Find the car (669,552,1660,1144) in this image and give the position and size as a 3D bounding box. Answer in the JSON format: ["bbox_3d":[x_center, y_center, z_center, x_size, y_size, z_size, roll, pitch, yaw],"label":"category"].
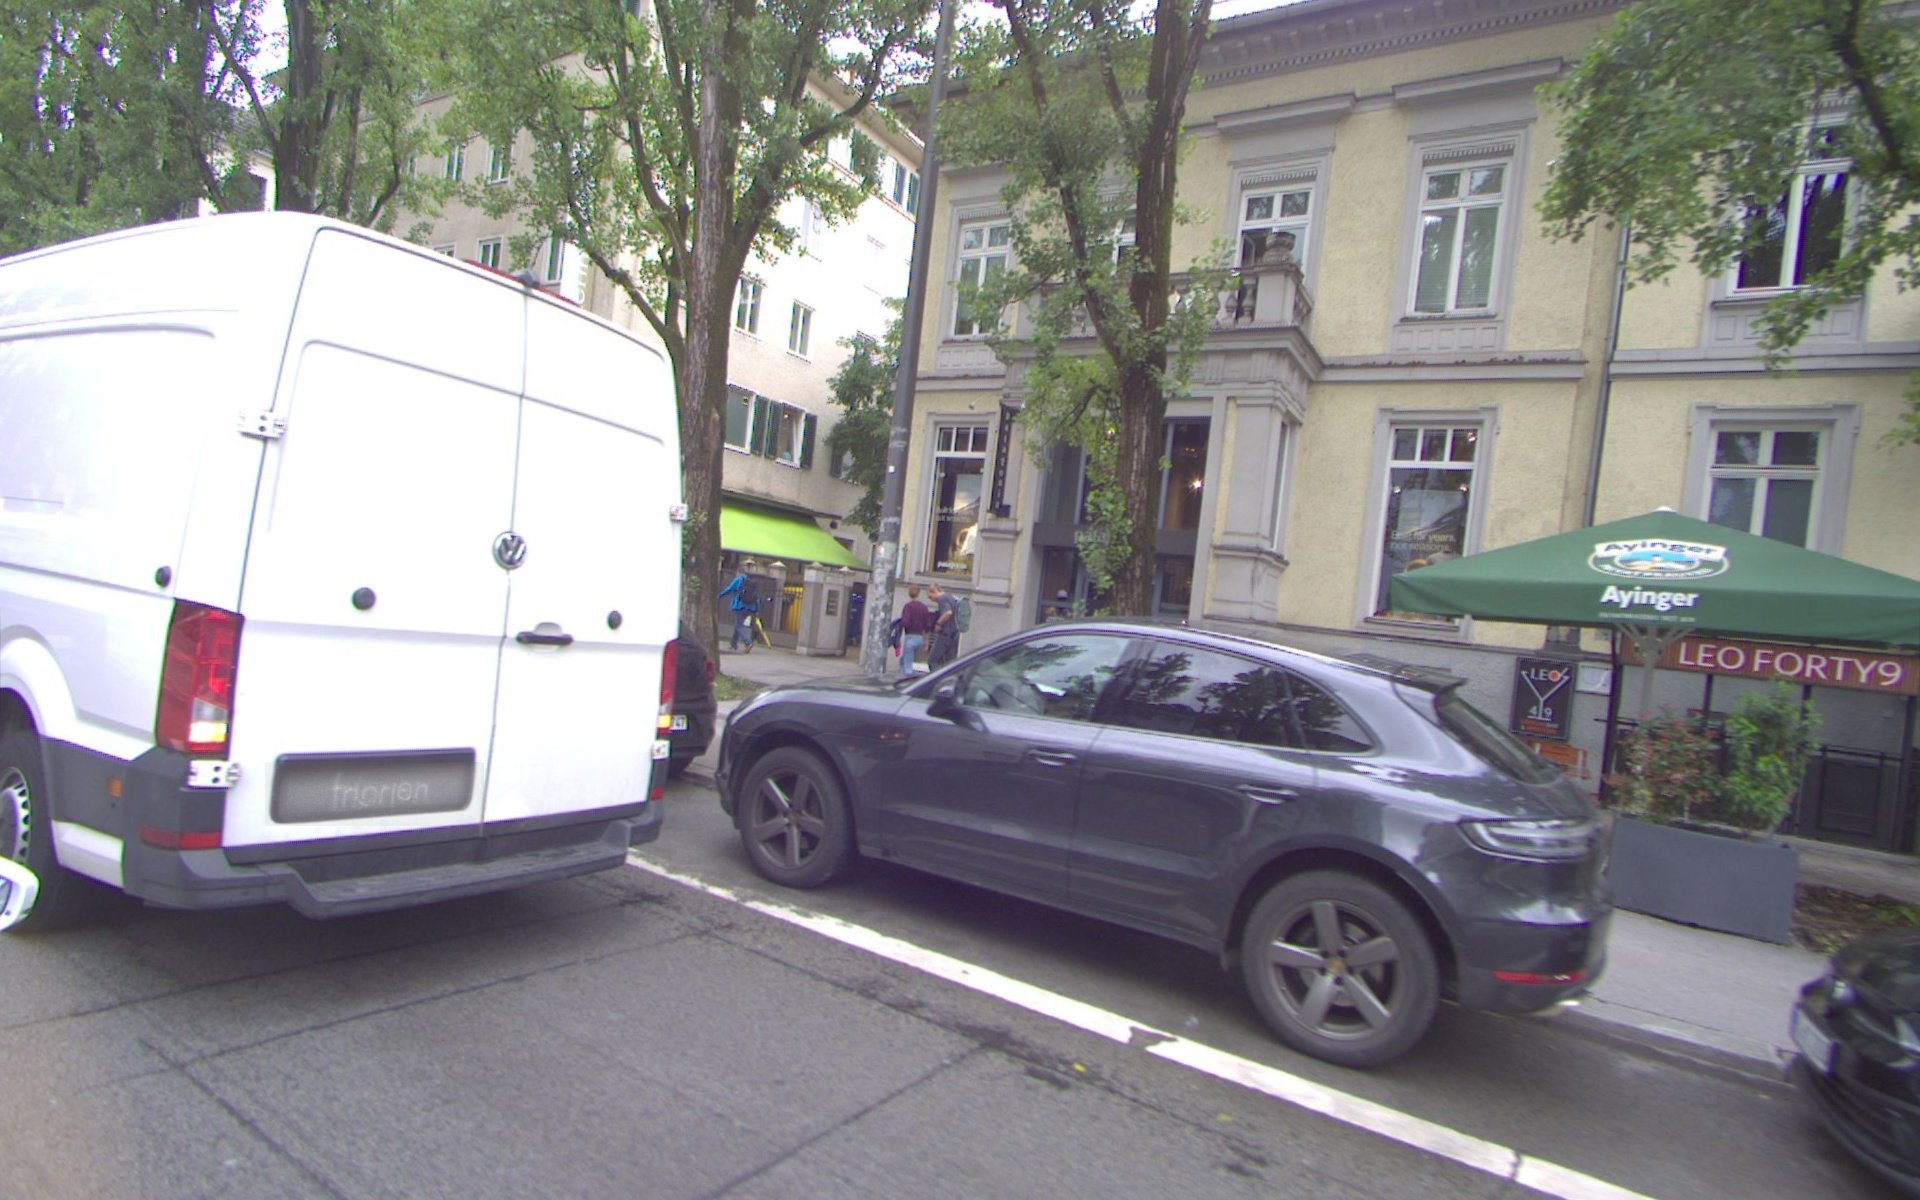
[{"bbox_3d":[0.805,0.856,5.253,4.372,1.657,1.807,7,-1,30],"label":"car"}]

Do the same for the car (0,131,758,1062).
[{"bbox_3d":[-4.365,-0.254,5.349,6.619,2.522,2.066,7,0,32],"label":"car"}]

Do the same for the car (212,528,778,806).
[{"bbox_3d":[-3.743,0.406,7.946,4.268,1.410,1.714,7,-1,28],"label":"car"}]

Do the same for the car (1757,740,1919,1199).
[{"bbox_3d":[4.694,1.438,2.512,3.884,1.434,1.697,7,0,30],"label":"car"}]

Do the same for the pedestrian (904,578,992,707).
[{"bbox_3d":[-0.178,0.638,15.190,0.862,1.818,0.772,7,1,32],"label":"pedestrian"}]

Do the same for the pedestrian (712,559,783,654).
[{"bbox_3d":[-4.106,0.135,19.479,0.862,1.698,0.798,7,1,32],"label":"pedestrian"}]

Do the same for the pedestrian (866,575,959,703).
[{"bbox_3d":[-0.675,0.562,14.468,0.862,1.698,0.798,7,1,32],"label":"pedestrian"}]
